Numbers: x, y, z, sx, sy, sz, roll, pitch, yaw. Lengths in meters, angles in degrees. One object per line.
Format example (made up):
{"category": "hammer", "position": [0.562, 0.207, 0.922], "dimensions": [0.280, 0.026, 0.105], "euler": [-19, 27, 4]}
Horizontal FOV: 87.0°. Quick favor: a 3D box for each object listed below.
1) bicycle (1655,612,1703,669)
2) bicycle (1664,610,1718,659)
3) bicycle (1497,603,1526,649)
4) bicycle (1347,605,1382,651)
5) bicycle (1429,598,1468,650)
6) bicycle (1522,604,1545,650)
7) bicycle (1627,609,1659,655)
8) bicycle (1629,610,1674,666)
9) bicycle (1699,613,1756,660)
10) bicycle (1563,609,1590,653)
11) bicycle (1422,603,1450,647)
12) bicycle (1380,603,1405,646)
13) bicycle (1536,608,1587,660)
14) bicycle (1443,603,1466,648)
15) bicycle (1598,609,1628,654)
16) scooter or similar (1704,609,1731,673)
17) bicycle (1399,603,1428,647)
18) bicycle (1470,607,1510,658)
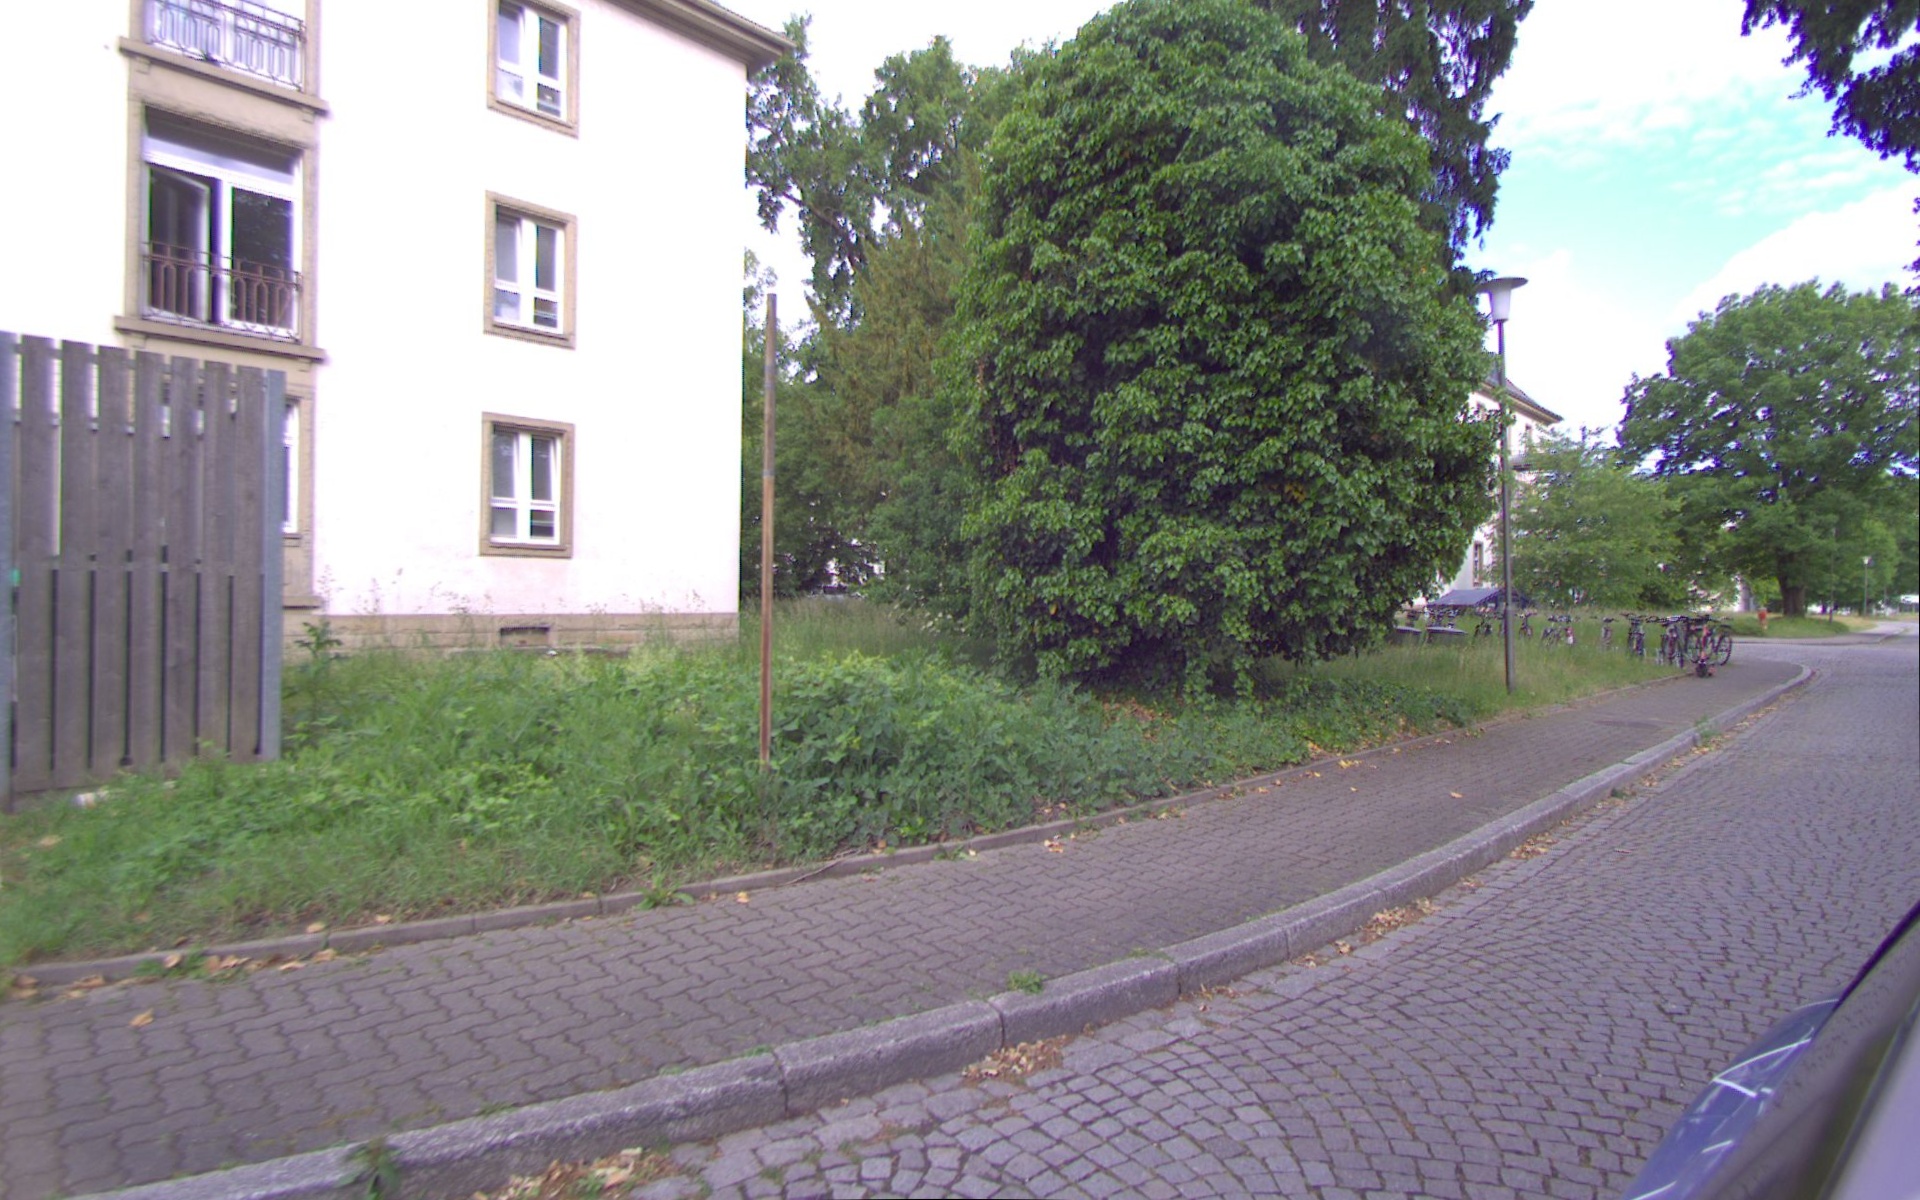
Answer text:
{"category": "bicycle", "position": [15.156, 0.830, 21.362], "dimensions": [0.546, 1.128, 1.753], "euler": [0, 0, 27]}
{"category": "bicycle", "position": [17.562, 0.812, 24.336], "dimensions": [0.470, 1.087, 1.616], "euler": [0, 1, 14]}
{"category": "bicycle", "position": [14.225, 0.659, 26.131], "dimensions": [0.472, 1.126, 1.751], "euler": [0, 0, 23]}
{"category": "bicycle", "position": [9.715, 0.657, 24.268], "dimensions": [0.547, 1.055, 1.665], "euler": [0, 0, 30]}
{"category": "bicycle", "position": [11.712, 0.556, 24.243], "dimensions": [0.548, 1.186, 1.731], "euler": [0, 0, 36]}
{"category": "bicycle", "position": [14.570, 0.660, 25.720], "dimensions": [0.473, 1.126, 1.747], "euler": [0, 0, 28]}
{"category": "bicycle", "position": [16.593, 0.762, 24.591], "dimensions": [0.473, 1.020, 1.651], "euler": [0, 1, 28]}
{"category": "bicycle", "position": [14.699, 0.786, 21.540], "dimensions": [0.546, 1.128, 1.788], "euler": [0, 0, 27]}
{"category": "bicycle", "position": [18.038, 0.838, 23.813], "dimensions": [0.470, 1.020, 1.616], "euler": [0, 1, 14]}
{"category": "bicycle", "position": [15.493, 0.755, 25.442], "dimensions": [0.473, 1.020, 1.651], "euler": [0, 1, 28]}
{"category": "bicycle", "position": [12.629, 0.652, 26.835], "dimensions": [0.439, 1.126, 1.631], "euler": [0, 0, 34]}
{"category": "bicycle", "position": [11.784, 0.640, 27.528], "dimensions": [0.473, 1.126, 1.747], "euler": [0, 0, 28]}
{"category": "bicycle", "position": [13.305, 0.726, 22.433], "dimensions": [0.610, 1.078, 1.814], "euler": [0, 0, 19]}
{"category": "bicycle", "position": [13.065, 0.649, 26.716], "dimensions": [0.473, 1.126, 1.747], "euler": [0, 0, 28]}
{"category": "bicycle", "position": [16.090, 0.758, 24.950], "dimensions": [0.473, 1.020, 1.651], "euler": [0, 1, 28]}
{"category": "scooter or similar", "position": [14.894, 0.787, 19.897], "dimensions": [0.356, 1.225, 1.121], "euler": [0, 0, 40]}
{"category": "bicycle", "position": [12.102, 0.647, 26.997], "dimensions": [0.439, 1.126, 1.631], "euler": [0, 0, 34]}
{"category": "bicycle", "position": [12.037, 0.715, 23.027], "dimensions": [0.544, 1.078, 1.743], "euler": [0, 0, 19]}
